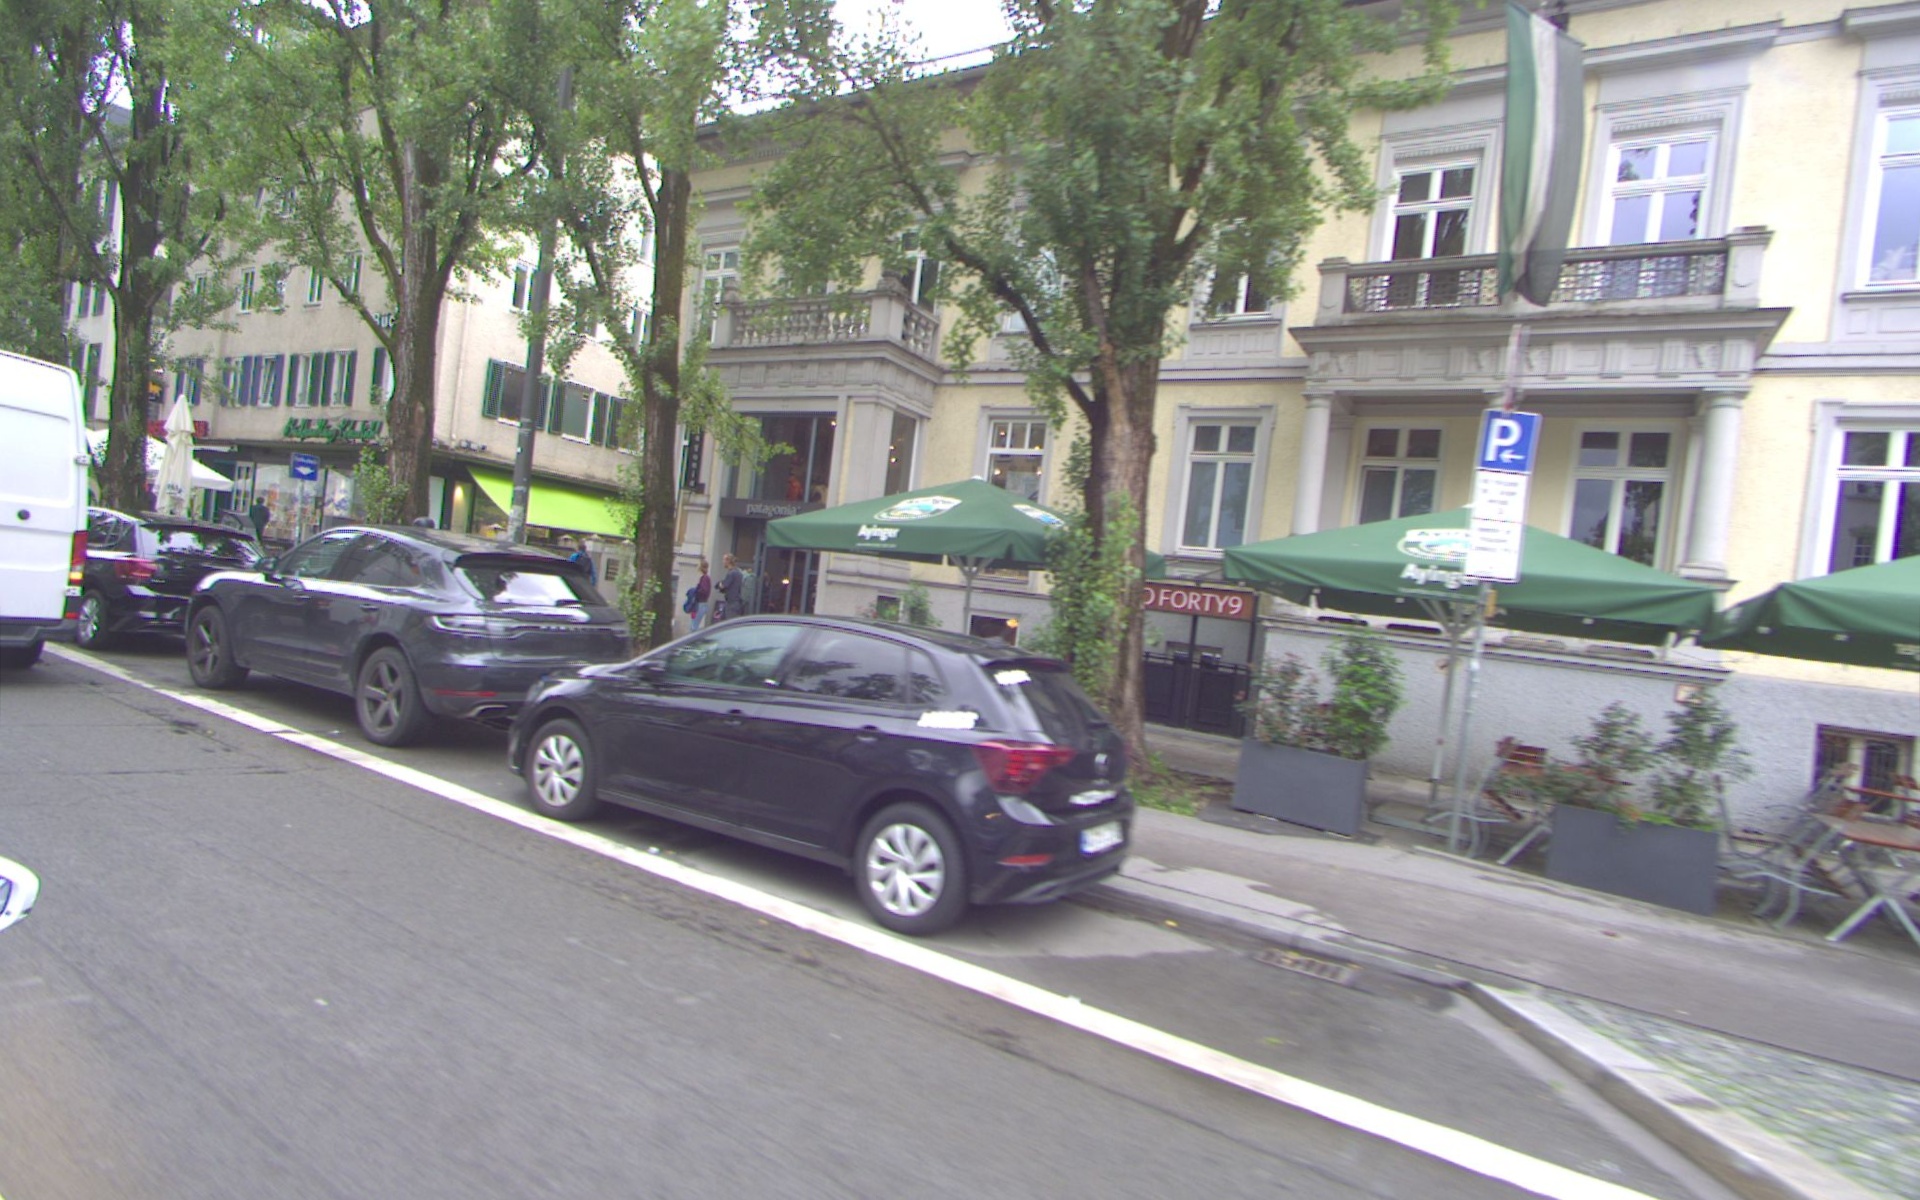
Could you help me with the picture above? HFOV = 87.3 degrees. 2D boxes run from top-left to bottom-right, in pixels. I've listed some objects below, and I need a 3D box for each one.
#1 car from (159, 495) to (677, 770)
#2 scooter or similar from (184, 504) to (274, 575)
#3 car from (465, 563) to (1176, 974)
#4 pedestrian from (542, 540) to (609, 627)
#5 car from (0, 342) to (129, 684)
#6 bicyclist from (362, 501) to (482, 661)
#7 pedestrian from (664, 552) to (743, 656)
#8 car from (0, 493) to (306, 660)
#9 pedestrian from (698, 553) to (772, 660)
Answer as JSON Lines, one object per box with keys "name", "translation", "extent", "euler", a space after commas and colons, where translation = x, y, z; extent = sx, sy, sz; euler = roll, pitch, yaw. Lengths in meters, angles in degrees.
{"name": "car", "translation": [-4.789, 0.186, 8.739], "extent": [4.372, 1.657, 1.807], "euler": [7, -1, 30]}
{"name": "scooter or similar", "translation": [-17.306, -1.446, 23.809], "extent": [2.451, 1.394, 0.637], "euler": [8, 3, 28]}
{"name": "car", "translation": [-0.922, 0.757, 6.050], "extent": [3.884, 1.434, 1.697], "euler": [7, 0, 30]}
{"name": "pedestrian", "translation": [-8.049, -0.341, 21.067], "extent": [0.862, 1.698, 0.798], "euler": [7, 1, 31]}
{"name": "car", "translation": [-10.134, -1.024, 8.935], "extent": [6.618, 2.522, 2.066], "euler": [7, 0, 32]}
{"name": "bicyclist", "translation": [-6.451, -0.219, 12.072], "extent": [0.870, 1.788, 0.768], "euler": [7, 1, 31]}
{"name": "pedestrian", "translation": [-4.497, 0.083, 17.674], "extent": [0.860, 1.698, 0.800], "euler": [7, 1, 17]}
{"name": "car", "translation": [-9.694, -0.335, 11.534], "extent": [4.268, 1.410, 1.714], "euler": [7, -1, 28]}
{"name": "pedestrian", "translation": [-4.100, 0.126, 18.368], "extent": [0.860, 1.818, 0.774], "euler": [7, 1, 18]}
